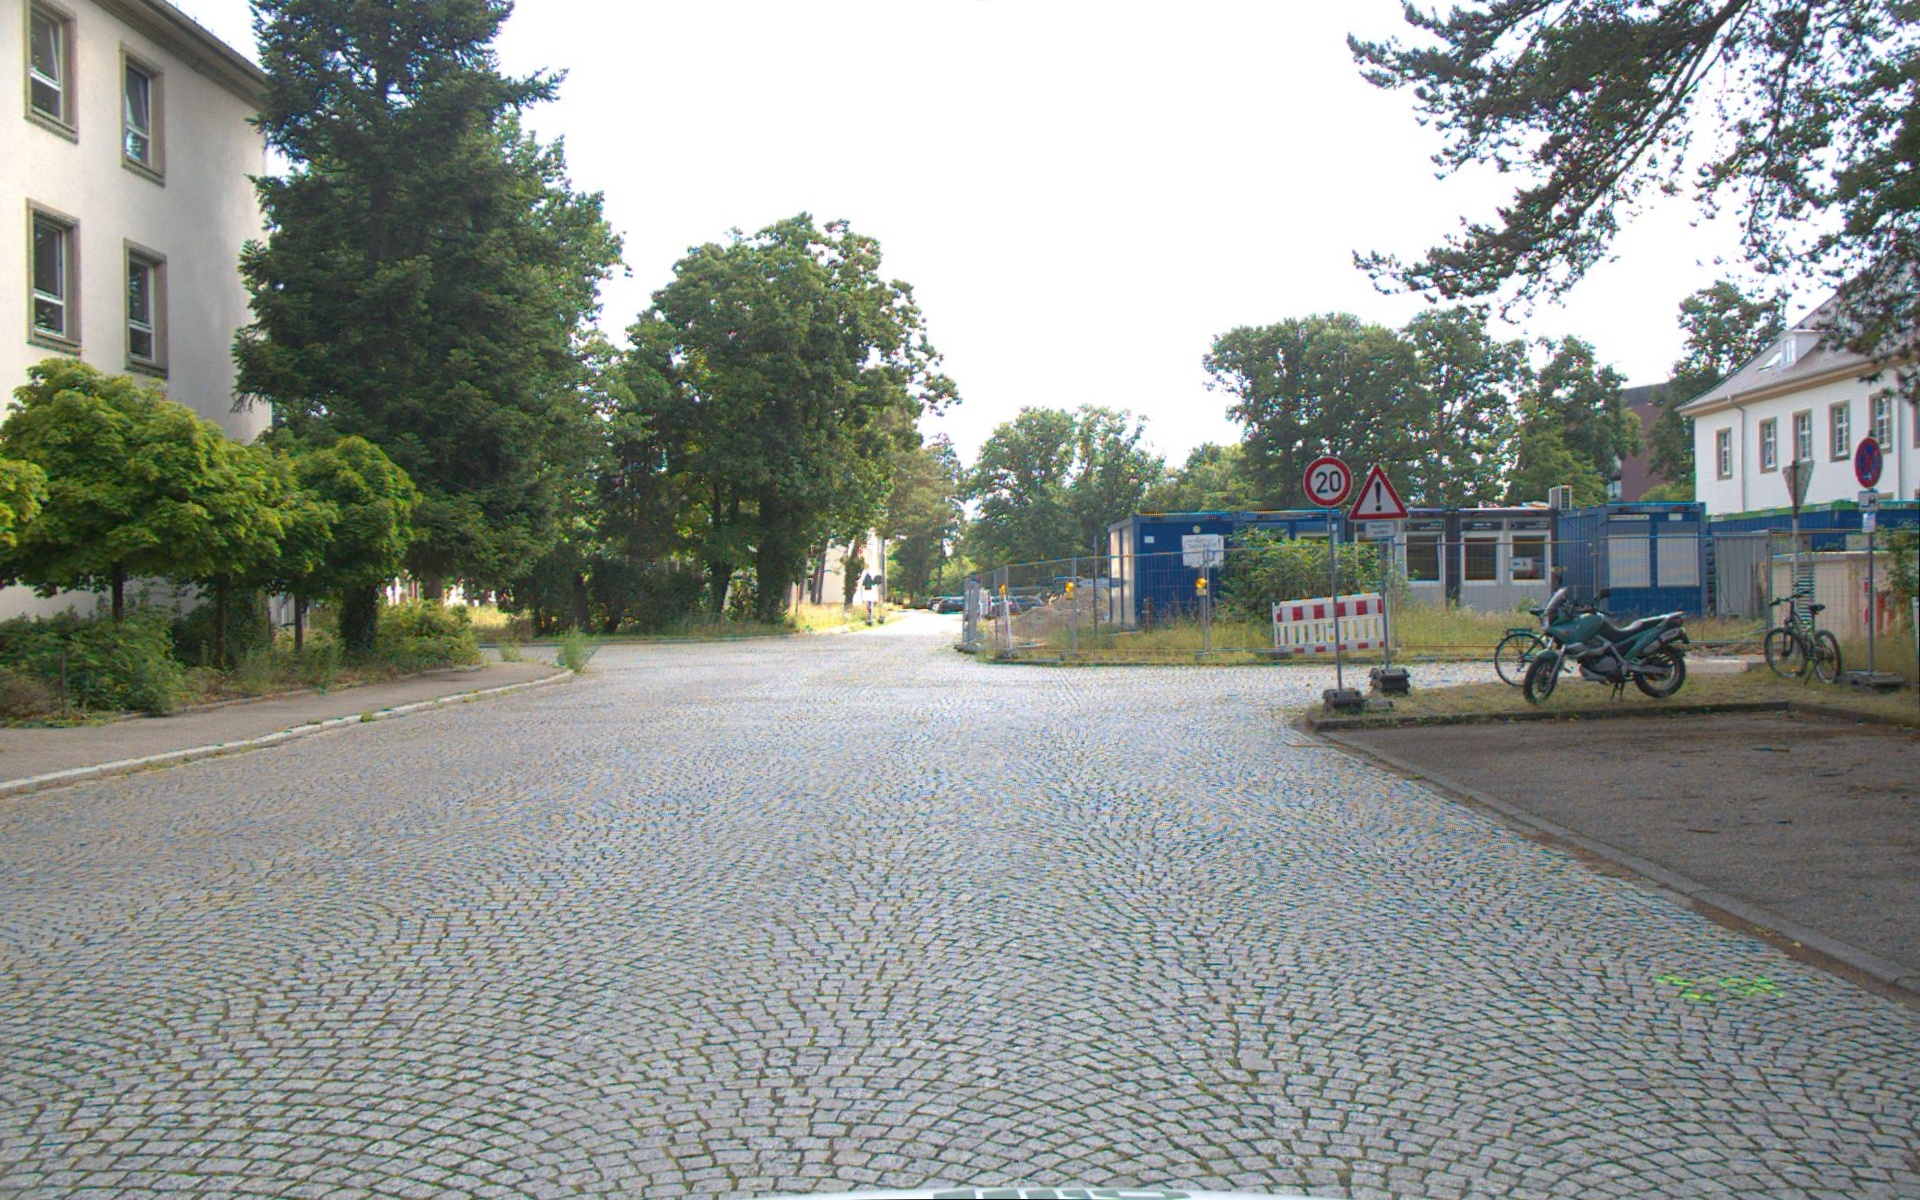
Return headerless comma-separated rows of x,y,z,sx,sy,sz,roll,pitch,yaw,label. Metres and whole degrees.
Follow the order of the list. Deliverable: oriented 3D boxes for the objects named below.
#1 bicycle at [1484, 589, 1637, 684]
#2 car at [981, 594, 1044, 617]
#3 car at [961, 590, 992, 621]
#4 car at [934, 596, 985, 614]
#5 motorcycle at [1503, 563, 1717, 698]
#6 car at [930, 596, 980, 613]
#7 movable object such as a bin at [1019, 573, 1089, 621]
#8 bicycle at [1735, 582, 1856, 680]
7.982,0.489,22.037,1.859,1.218,0.656,-1,0,20,bicycle
3.756,0.387,117.917,4.308,1.537,2.002,0,0,8,car
1.096,0.360,110.726,1.953,2.049,4.090,-1,0,-1,car
-0.054,0.438,158.920,4.687,1.669,1.998,-1,0,-5,car
7.704,0.348,19.652,2.232,1.511,0.756,-2,0,-5,motorcycle
-0.482,0.432,162.022,4.687,1.669,1.998,-1,0,-5,car
5.345,-0.188,93.740,2.088,2.638,4.783,-1,0,29,movable object such as a bin
10.753,0.370,21.357,0.629,1.189,1.905,-2,0,2,bicycle
